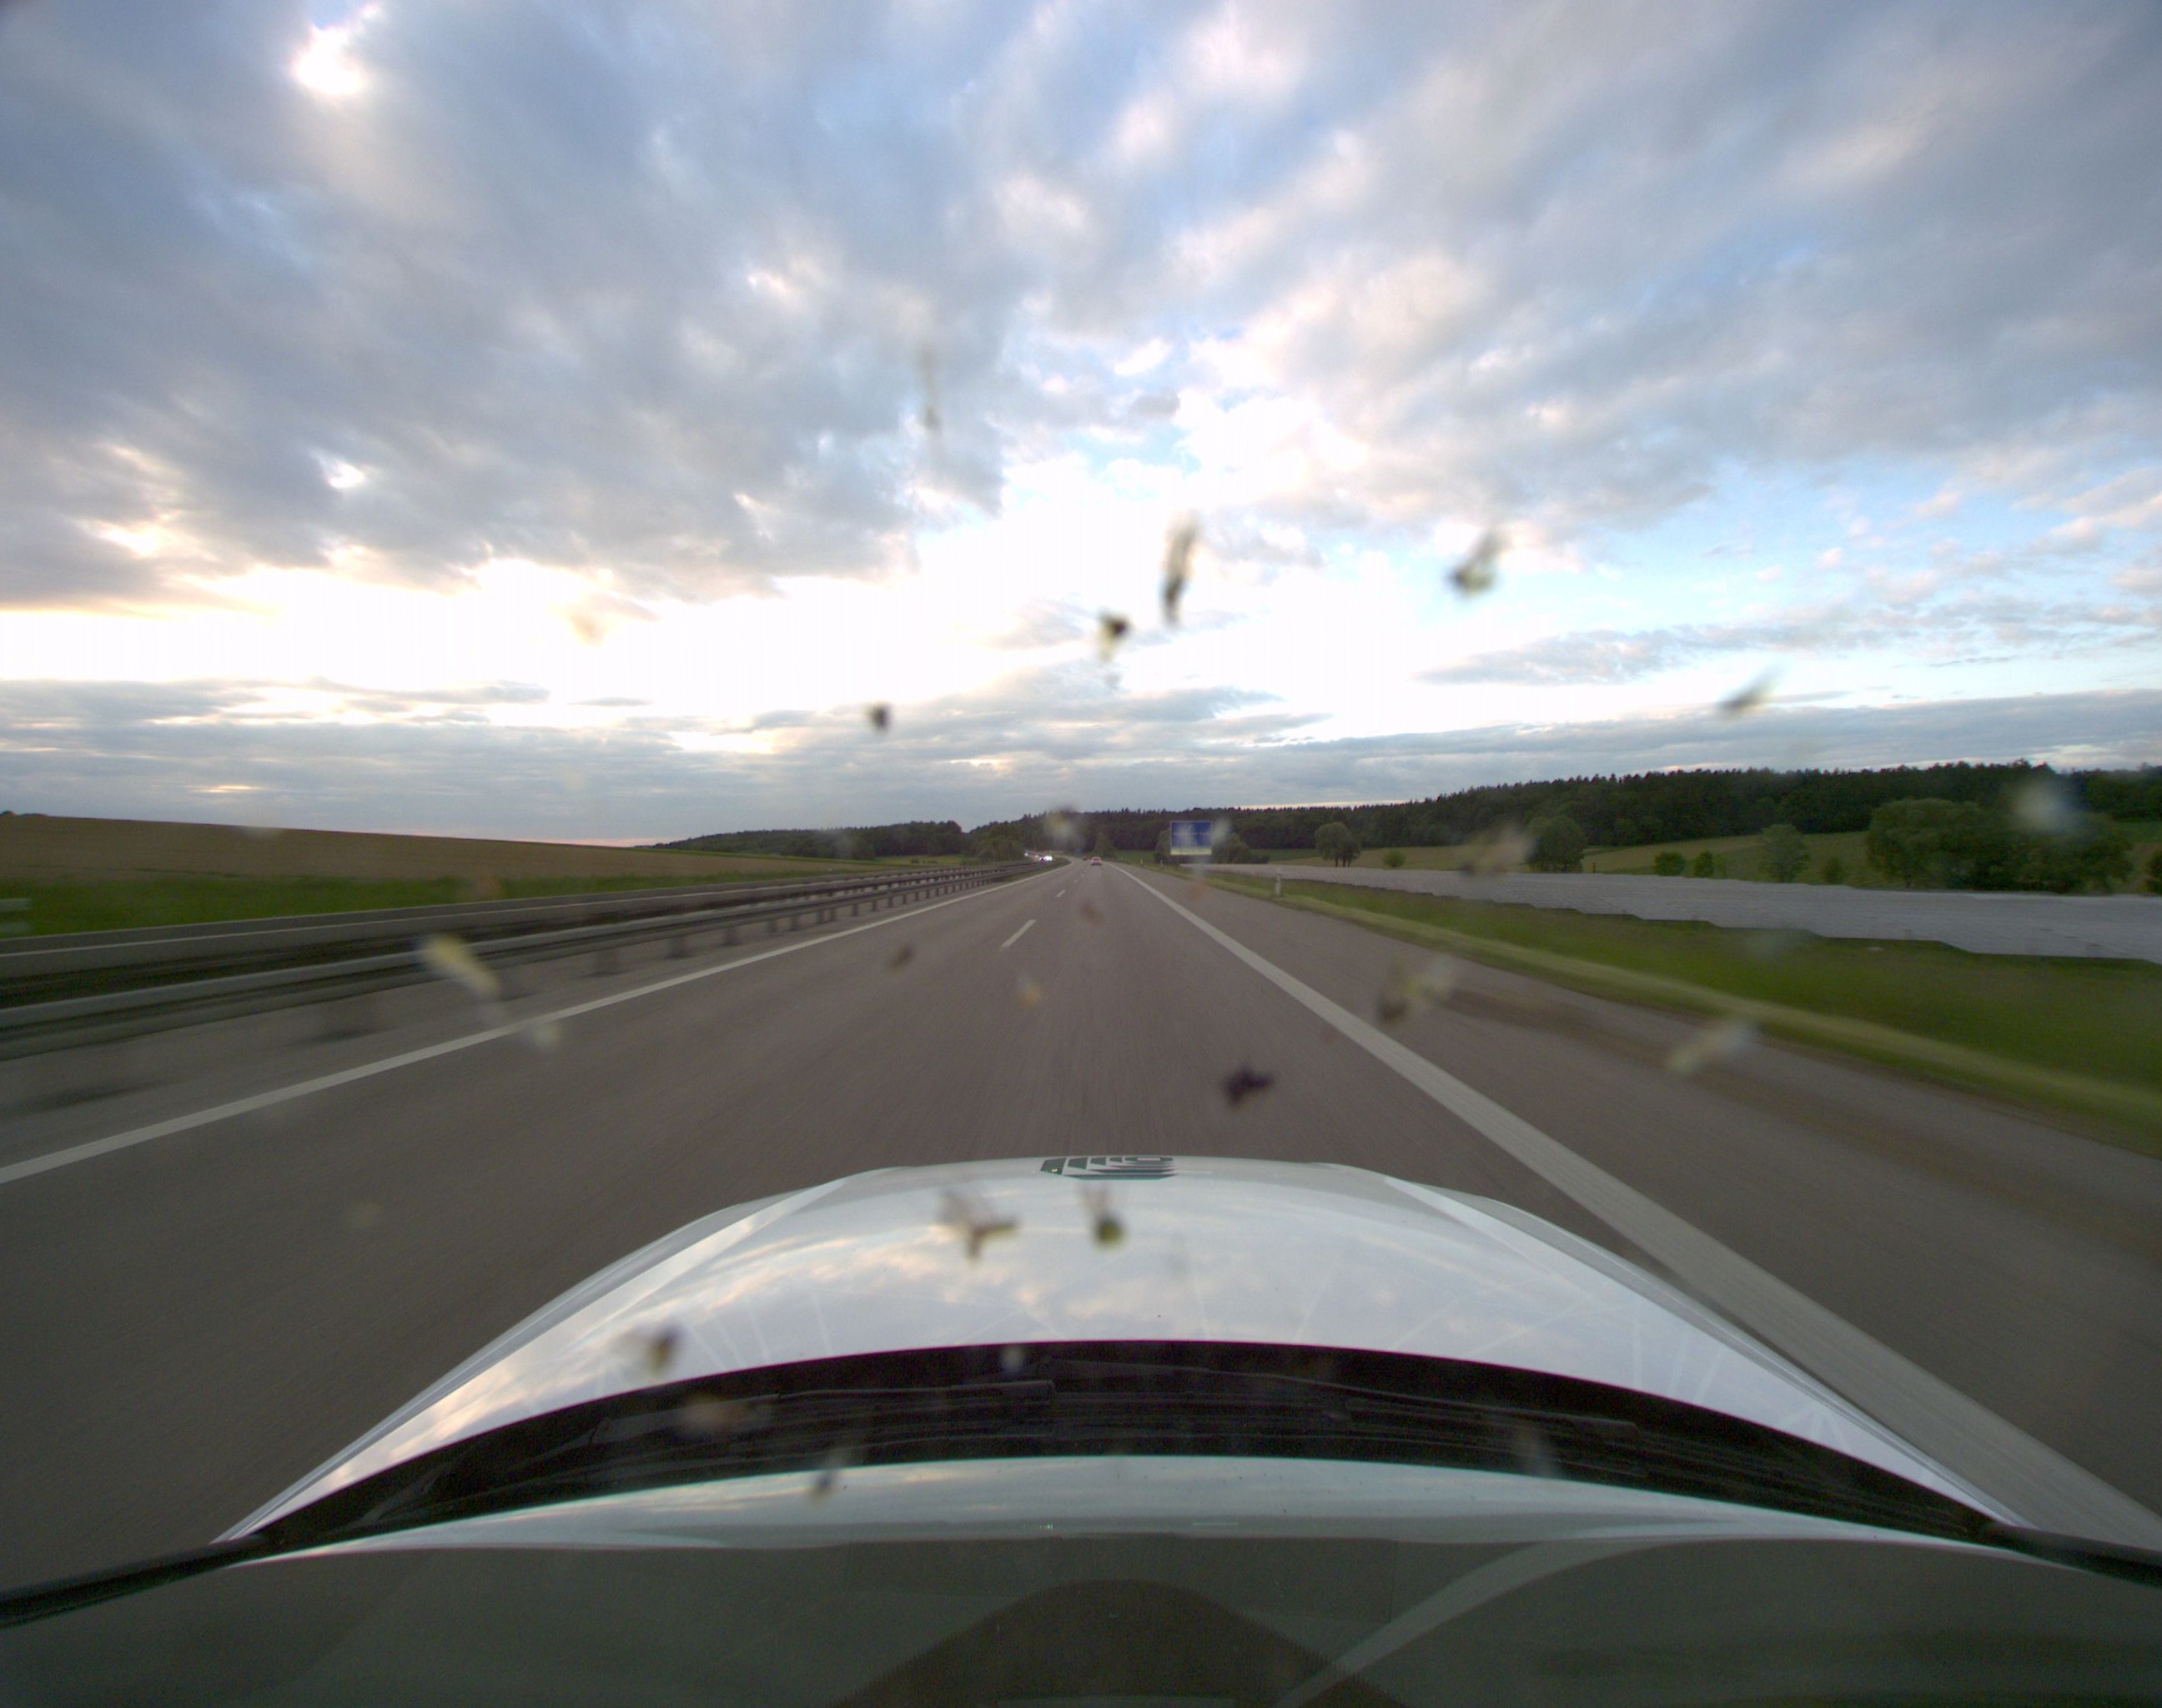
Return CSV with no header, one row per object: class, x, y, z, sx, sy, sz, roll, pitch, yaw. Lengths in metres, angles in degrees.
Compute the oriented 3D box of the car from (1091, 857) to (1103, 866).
car,2.818,1.253,142.925,1.946,1.531,4.079,1,0,-1
